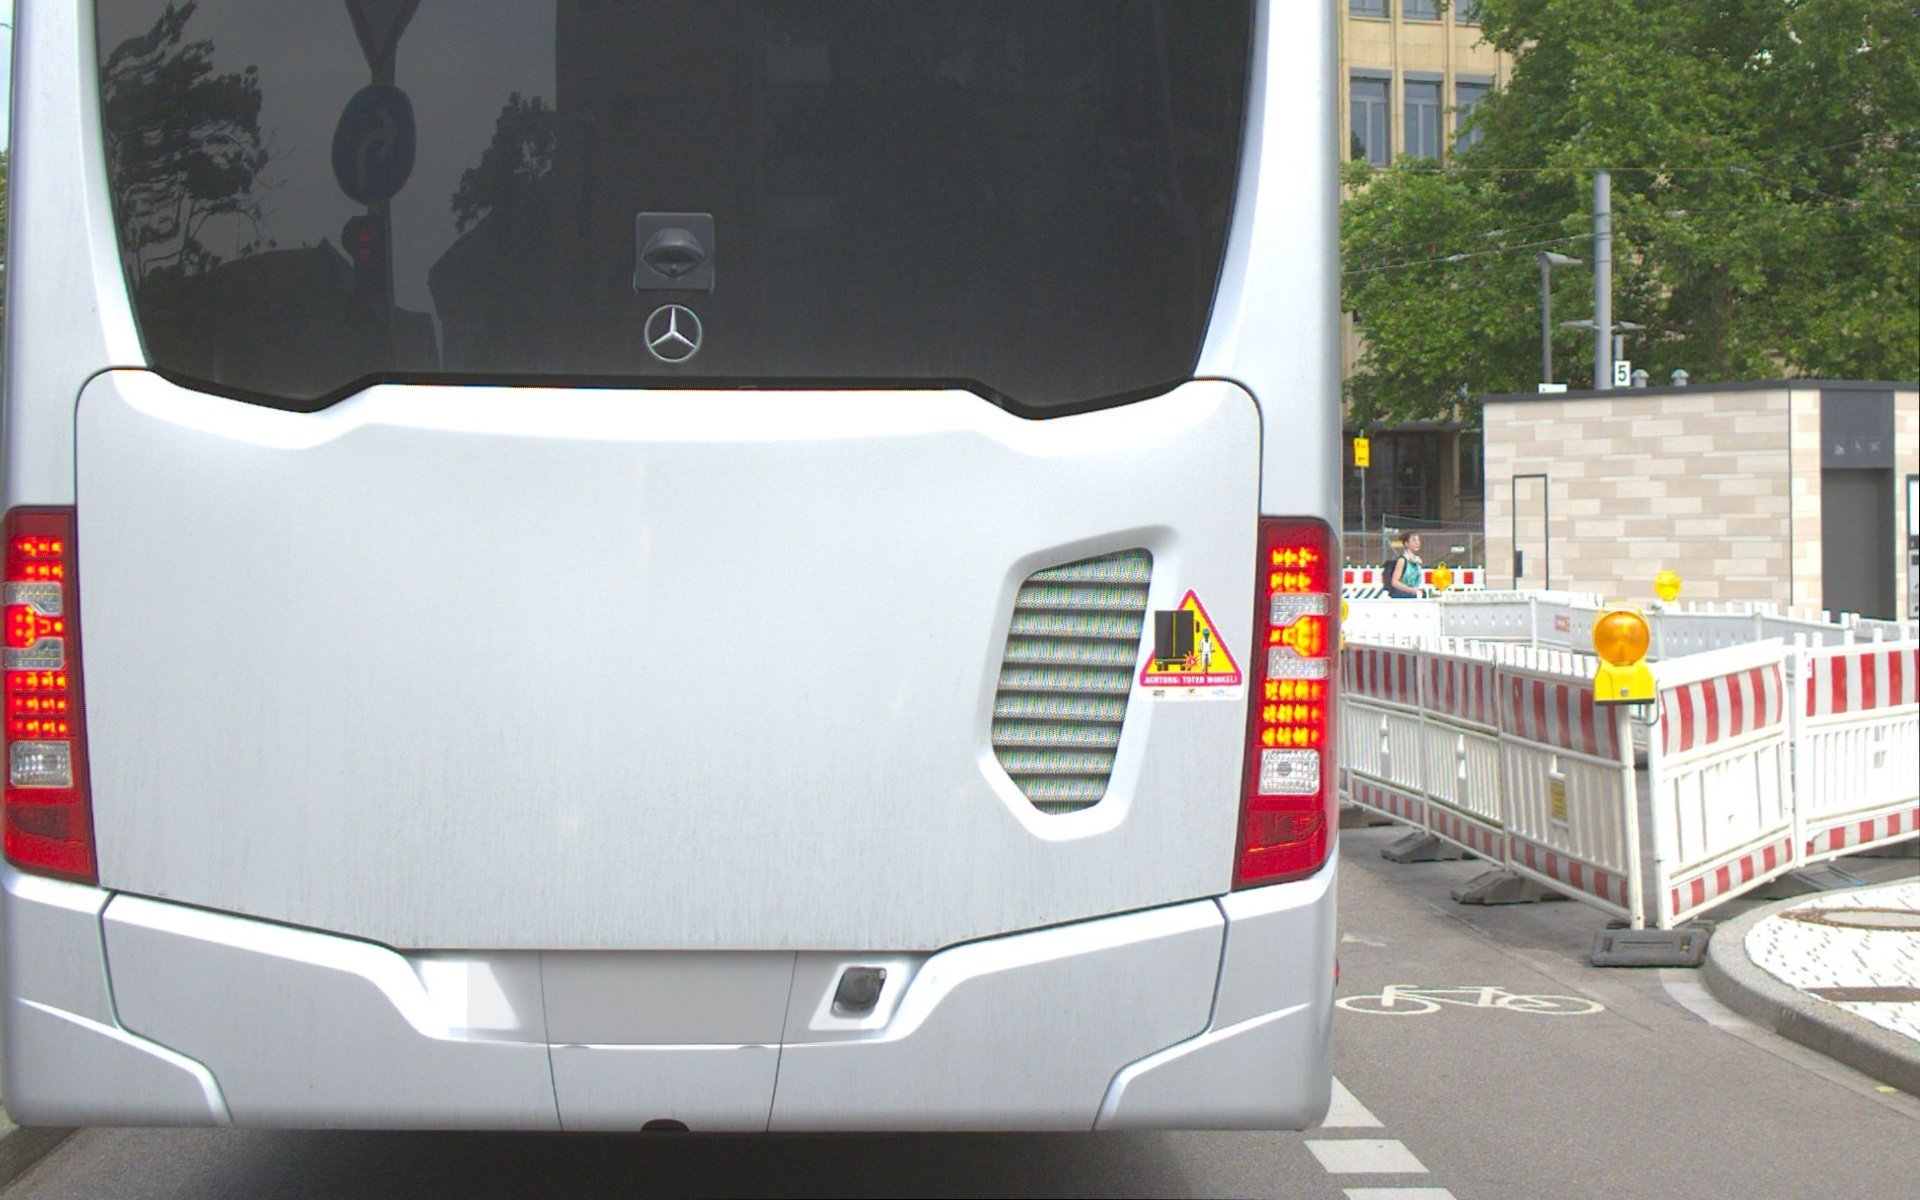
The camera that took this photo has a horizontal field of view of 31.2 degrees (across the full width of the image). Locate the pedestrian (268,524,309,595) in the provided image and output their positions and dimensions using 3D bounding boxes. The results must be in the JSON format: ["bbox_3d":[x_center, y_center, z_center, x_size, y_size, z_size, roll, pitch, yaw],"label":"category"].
[{"bbox_3d":[-19.045,-1.151,97.490,0.887,2.007,1.009,-1,1,-28],"label":"pedestrian"}]

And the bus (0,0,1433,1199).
[{"bbox_3d":[-0.937,-0.408,12.984,2.704,3.426,14.185,0,0,-3],"label":"bus"}]

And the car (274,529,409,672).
[{"bbox_3d":[-9.741,-0.038,54.399,1.993,2.006,4.002,-1,3,-9],"label":"car"}]

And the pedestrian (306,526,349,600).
[{"bbox_3d":[-17.406,-1.020,94.631,0.887,2.007,1.009,-1,1,-28],"label":"pedestrian"}]
